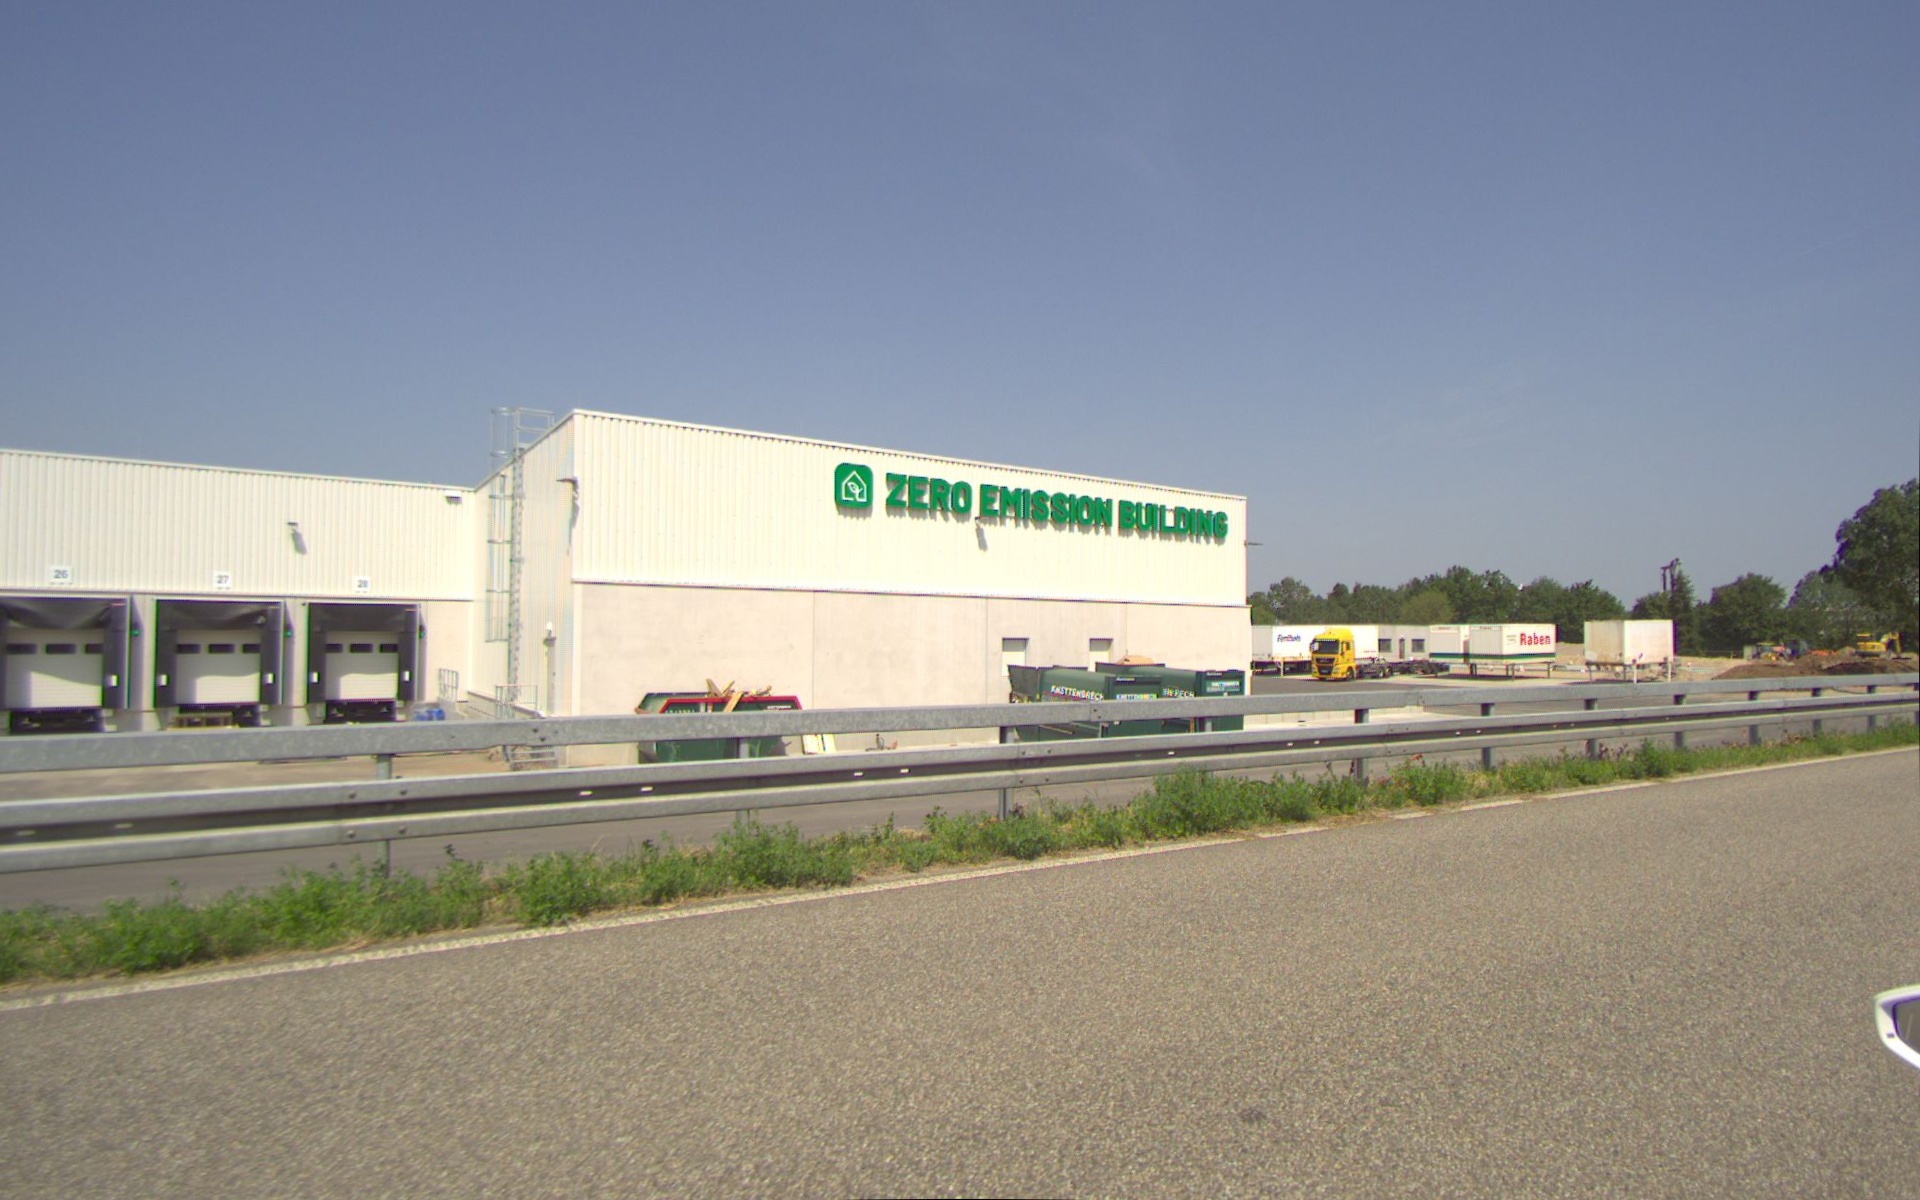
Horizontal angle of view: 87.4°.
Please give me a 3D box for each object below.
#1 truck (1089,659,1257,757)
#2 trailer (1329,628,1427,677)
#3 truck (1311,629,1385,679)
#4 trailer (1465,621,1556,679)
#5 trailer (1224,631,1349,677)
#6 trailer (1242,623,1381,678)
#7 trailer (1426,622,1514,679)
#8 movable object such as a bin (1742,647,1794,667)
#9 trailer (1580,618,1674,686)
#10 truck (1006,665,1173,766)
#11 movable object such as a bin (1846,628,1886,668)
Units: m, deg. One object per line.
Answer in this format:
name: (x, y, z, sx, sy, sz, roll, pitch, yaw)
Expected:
truck: (6.575, 3.252, 31.579, 2.250, 2.571, 5.013, 2, -1, -34)
trailer: (33.135, 4.065, 79.341, 11.078, 3.556, 2.348, 1, -1, -40)
truck: (29.496, 4.004, 76.223, 6.798, 3.556, 2.348, 1, -1, -40)
trailer: (41.527, 3.677, 75.667, 7.815, 4.203, 2.727, 1, -1, -34)
trailer: (29.046, 4.735, 88.787, 13.936, 3.740, 2.639, 2, 0, -35)
trailer: (30.236, 4.164, 85.738, 15.427, 4.317, 2.679, 1, -1, -35)
trailer: (39.654, 3.824, 78.081, 7.459, 4.275, 2.837, 1, -1, -34)
movable object such as a bin: (84.605, 5.958, 105.237, 1.987, 2.039, 3.949, 2, -5, -44)
trailer: (45.550, 3.415, 68.525, 7.872, 4.390, 2.662, 1, -1, -35)
truck: (3.593, 3.179, 28.900, 2.206, 2.364, 4.985, 1, -1, -30)
movable object such as a bin: (87.181, 4.631, 96.750, 2.591, 3.700, 5.434, -4, -4, 41)
